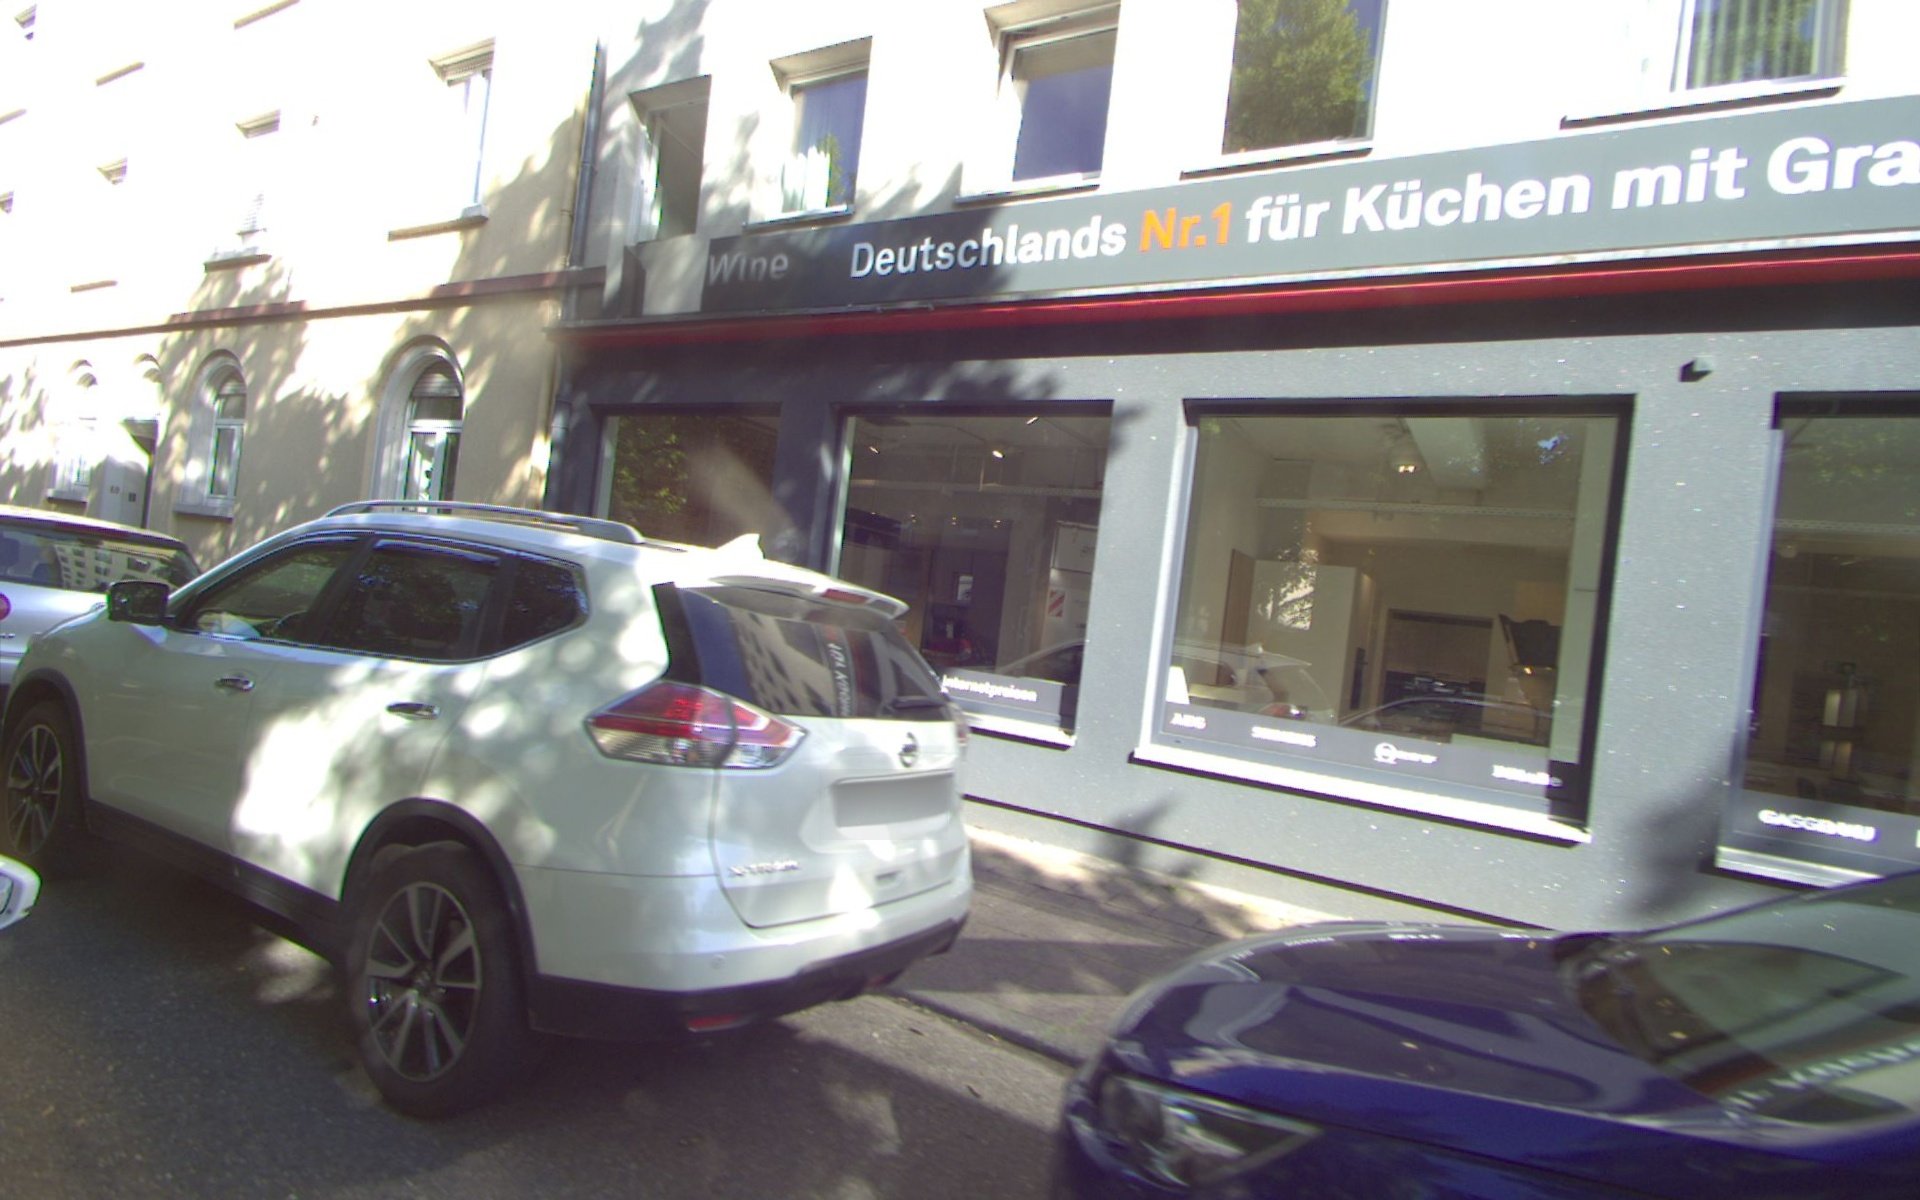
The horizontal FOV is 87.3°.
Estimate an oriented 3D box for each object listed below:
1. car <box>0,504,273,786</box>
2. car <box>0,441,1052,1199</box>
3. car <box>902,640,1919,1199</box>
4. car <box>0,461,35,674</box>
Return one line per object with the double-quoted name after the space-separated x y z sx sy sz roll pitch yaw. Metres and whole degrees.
-6.760 0.095 6.794 4.167 1.517 1.766 6 -2 30 "car"
-2.099 0.475 4.088 4.433 1.773 1.766 6 -2 29 "car"
2.255 1.100 1.500 4.362 1.480 1.807 6 -2 26 "car"
-11.164 -0.587 9.674 4.765 1.923 1.952 6 -2 31 "car"
